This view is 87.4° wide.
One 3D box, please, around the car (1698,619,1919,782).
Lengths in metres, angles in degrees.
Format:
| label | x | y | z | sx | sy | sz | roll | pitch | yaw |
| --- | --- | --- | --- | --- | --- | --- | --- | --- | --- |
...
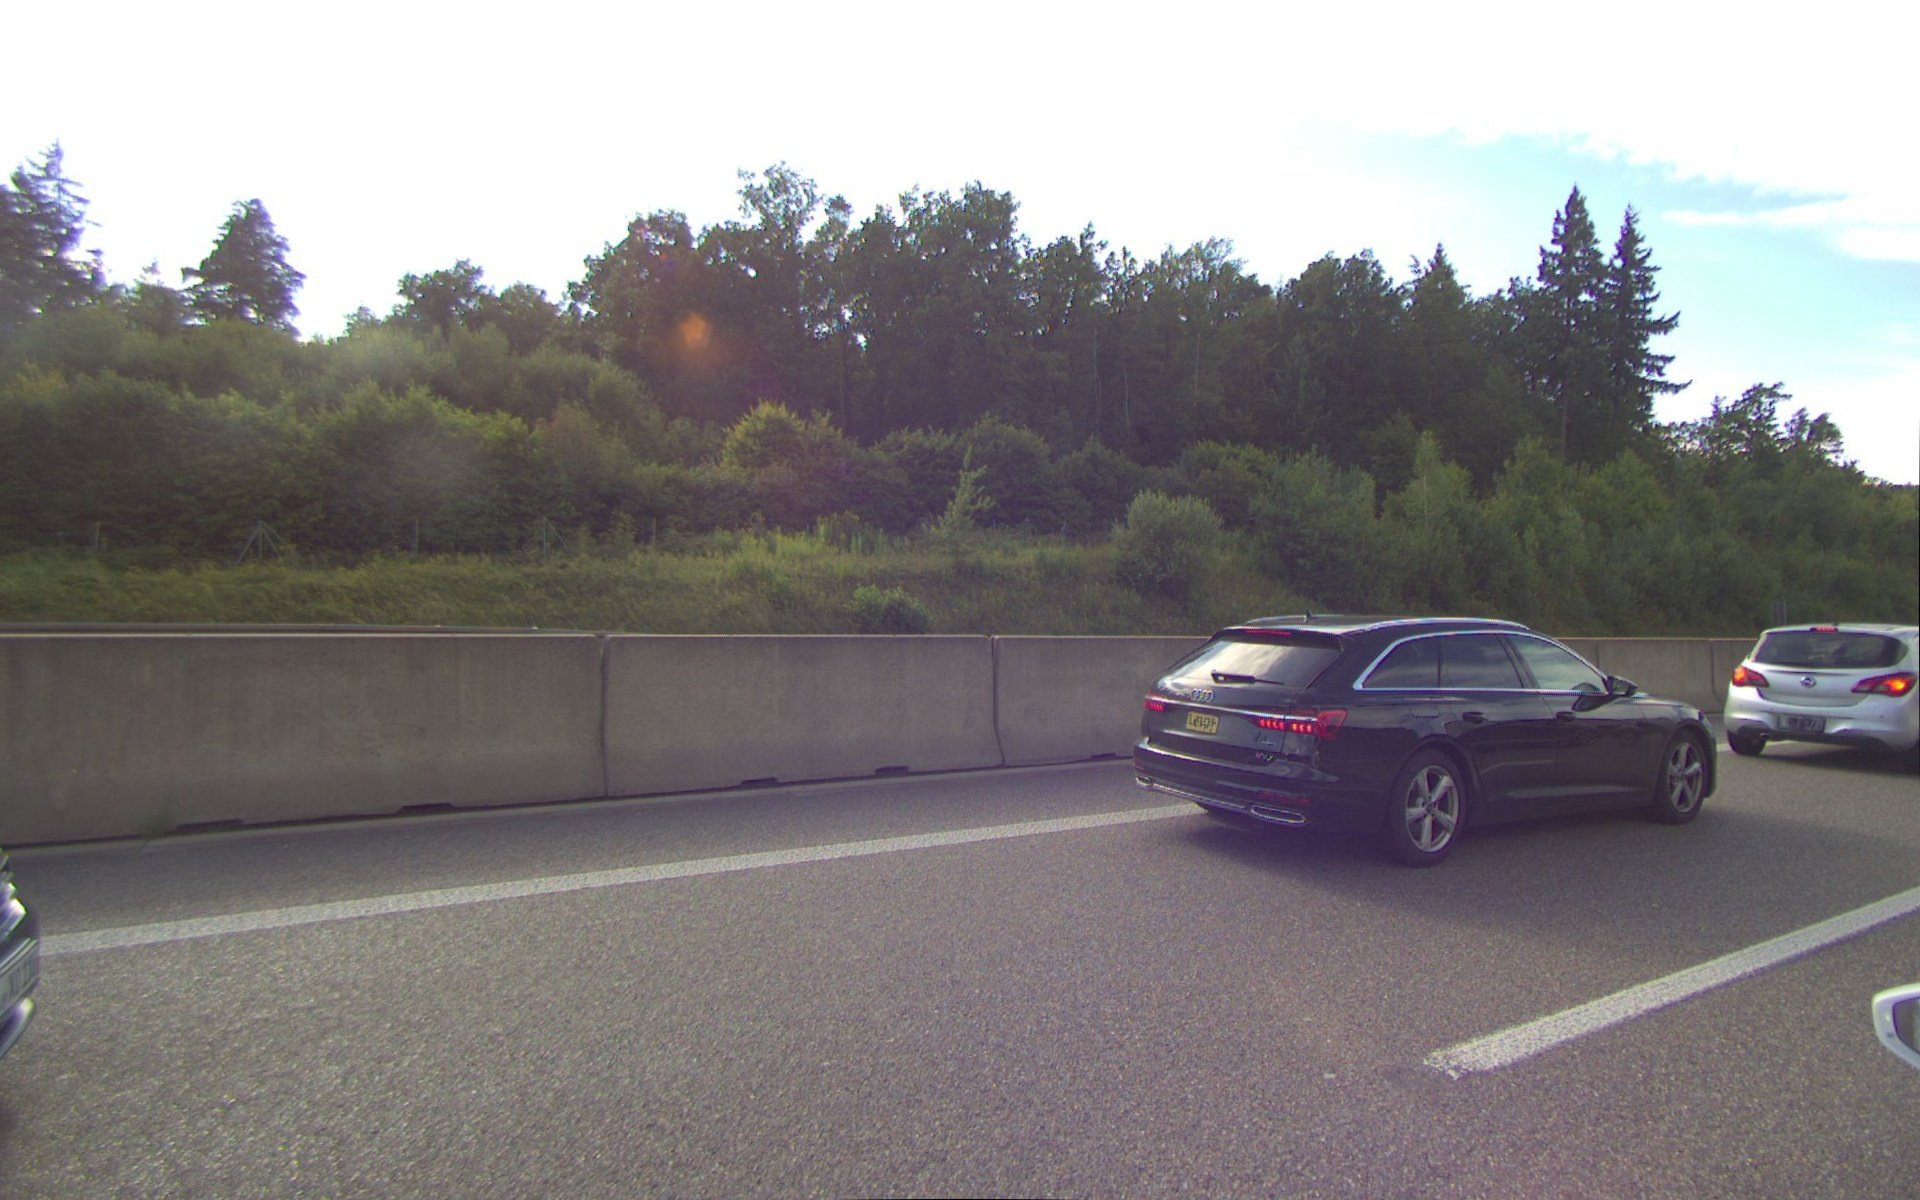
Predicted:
| label | x | y | z | sx | sy | sz | roll | pitch | yaw |
| --- | --- | --- | --- | --- | --- | --- | --- | --- | --- |
| car | 10.113 | 0.980 | 11.107 | 3.994 | 1.485 | 1.738 | 1 | -1 | -31 |

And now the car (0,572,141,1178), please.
| label | x | y | z | sx | sy | sz | roll | pitch | yaw |
| --- | --- | --- | --- | --- | --- | --- | --- | --- | --- |
| car | -4.464 | 0.635 | 1.642 | 4.512 | 1.497 | 1.903 | 1 | 0 | -28 |

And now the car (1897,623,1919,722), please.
| label | x | y | z | sx | sy | sz | roll | pitch | yaw |
| --- | --- | --- | --- | --- | --- | --- | --- | --- | --- |
| car | 16.622 | 1.135 | 15.545 | 4.692 | 1.475 | 1.834 | 1 | 0 | -30 |

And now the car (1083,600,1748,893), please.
| label | x | y | z | sx | sy | sz | roll | pitch | yaw |
| --- | --- | --- | --- | --- | --- | --- | --- | --- | --- |
| car | 3.376 | 0.801 | 7.184 | 4.794 | 1.491 | 1.874 | 1 | 0 | -30 |
